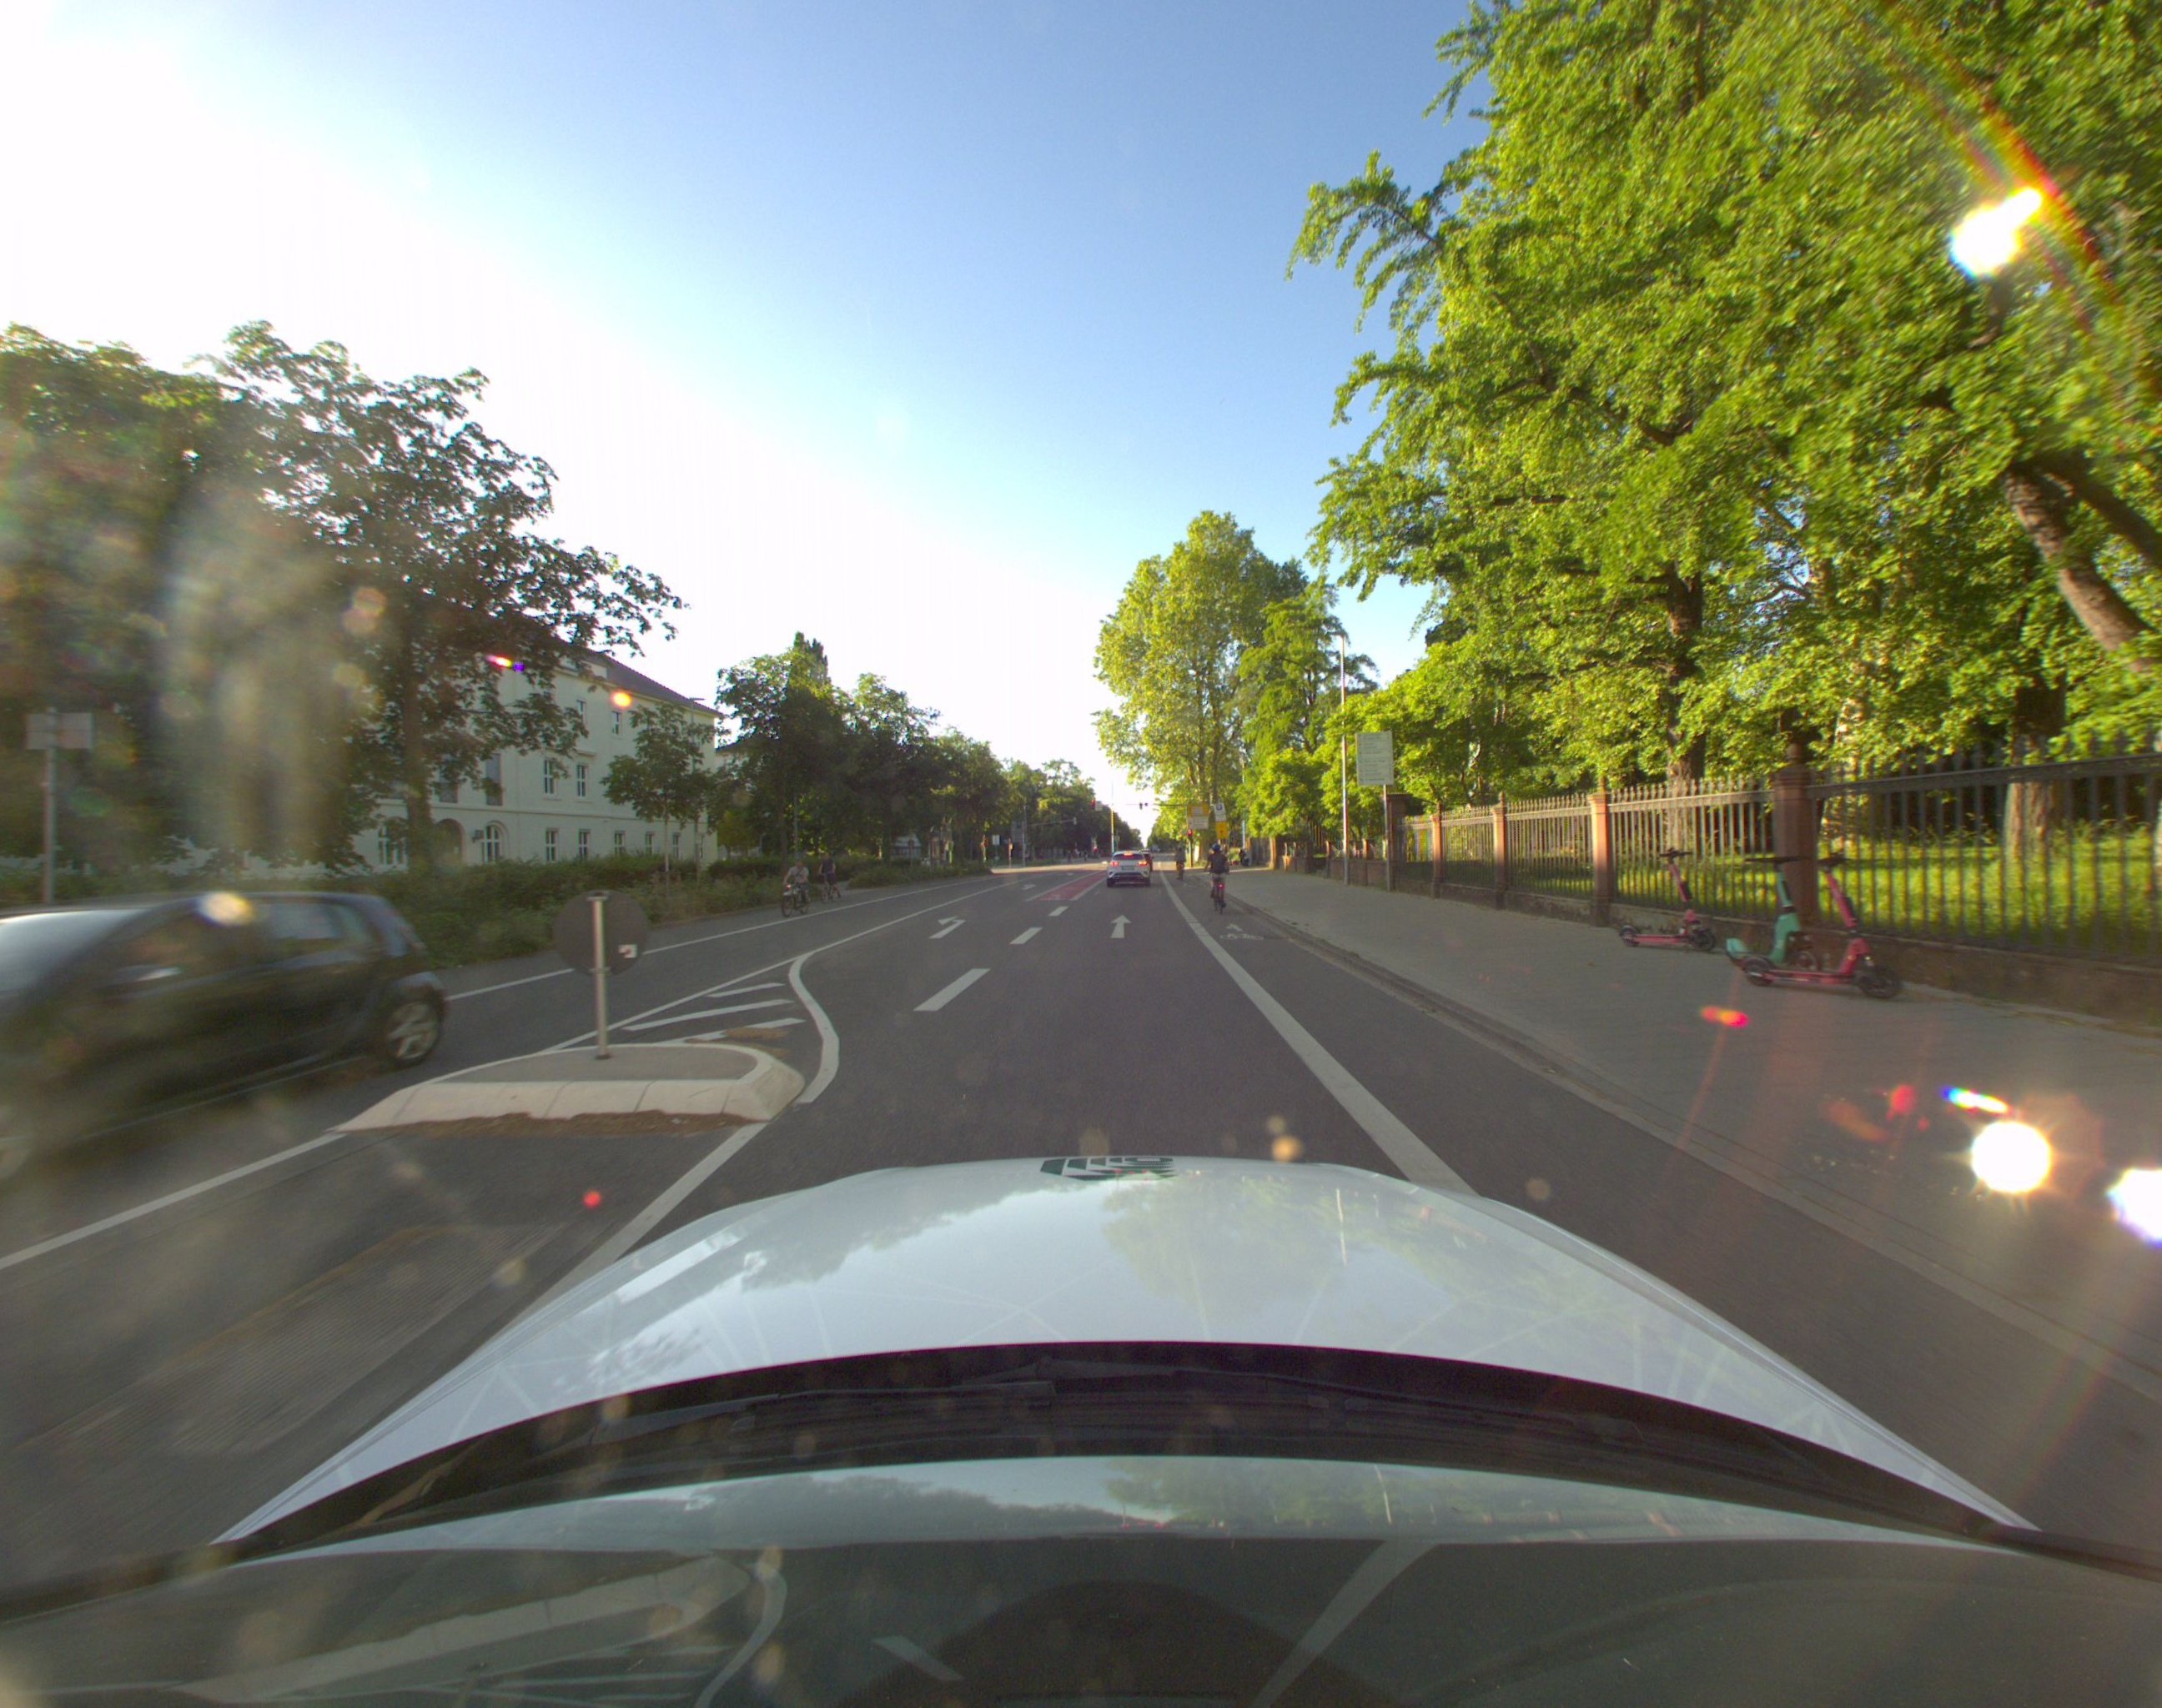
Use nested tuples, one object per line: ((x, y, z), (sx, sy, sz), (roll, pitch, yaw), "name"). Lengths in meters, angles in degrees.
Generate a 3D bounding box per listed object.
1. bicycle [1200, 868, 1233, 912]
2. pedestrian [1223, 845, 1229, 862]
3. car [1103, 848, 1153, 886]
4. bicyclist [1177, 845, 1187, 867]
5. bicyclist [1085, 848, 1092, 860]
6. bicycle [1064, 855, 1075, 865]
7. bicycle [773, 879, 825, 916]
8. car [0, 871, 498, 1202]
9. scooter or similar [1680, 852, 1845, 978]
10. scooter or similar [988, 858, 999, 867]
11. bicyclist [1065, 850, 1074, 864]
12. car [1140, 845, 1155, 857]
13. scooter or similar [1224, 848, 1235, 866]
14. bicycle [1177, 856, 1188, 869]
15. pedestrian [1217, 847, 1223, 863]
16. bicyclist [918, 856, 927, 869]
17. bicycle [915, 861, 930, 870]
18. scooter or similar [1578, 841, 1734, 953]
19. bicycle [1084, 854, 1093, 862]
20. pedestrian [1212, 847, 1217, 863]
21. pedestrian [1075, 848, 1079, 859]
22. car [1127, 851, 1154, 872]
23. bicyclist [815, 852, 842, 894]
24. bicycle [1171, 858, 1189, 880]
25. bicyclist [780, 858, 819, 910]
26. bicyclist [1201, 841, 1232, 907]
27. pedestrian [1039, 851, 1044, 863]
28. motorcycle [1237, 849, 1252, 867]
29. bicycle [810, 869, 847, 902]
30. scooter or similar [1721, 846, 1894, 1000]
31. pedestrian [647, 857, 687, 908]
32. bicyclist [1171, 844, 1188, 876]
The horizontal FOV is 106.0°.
((3.458, 0.897, 20.922), (0.640, 1.024, 2.215), (0, 0, 4), "bicycle")
((16.227, -0.031, 91.128), (0.479, 1.792, 0.433), (-5, 3, 11), "pedestrian")
((2.059, 0.531, 35.329), (1.984, 1.453, 4.005), (-3, 0, 4), "car")
((7.943, 0.163, 63.931), (0.746, 1.750, 0.844), (-1, 0, 4), "bicyclist")
((1.164, 0.020, 126.278), (0.951, 1.705, 1.234), (-3, 0, 6), "bicyclist")
((-1.555, 0.767, 109.325), (1.096, 1.255, 2.784), (-3, 0, 6), "bicycle")
((-8.091, 1.222, 23.466), (0.614, 0.921, 2.180), (-2, 0, 2), "bicycle")
((-5.940, 0.917, 5.051), (1.753, 1.459, 3.998), (-2, 0, -1), "car")
((6.709, 0.557, 8.103), (0.479, 1.122, 1.336), (-3, 0, 0), "scooter or similar")
((-11.362, 1.059, 105.726), (0.506, 1.144, 1.711), (-3, 0, 26), "scooter or similar")
((-1.550, 0.376, 109.422), (1.087, 1.754, 1.099), (-3, 0, 6), "bicyclist")
((9.244, -0.427, 112.636), (1.727, 1.546, 4.010), (-2, 0, 8), "car")
((11.451, 0.225, 62.703), (0.564, 1.382, 1.858), (-2, 0, 3), "scooter or similar")
((7.953, 0.657, 63.988), (0.750, 1.026, 1.871), (-1, -1, 4), "bicycle")
((15.436, 0.106, 90.515), (0.479, 1.640, 0.433), (-5, 3, 11), "pedestrian")
((-19.956, 1.071, 102.442), (0.916, 1.508, 0.508), (-2, 0, 11), "bicyclist")
((-19.922, 1.450, 102.436), (1.754, 0.990, 0.514), (-2, 0, 11), "bicycle")
((6.998, 0.488, 9.999), (0.548, 1.243, 1.551), (-3, 0, -13), "scooter or similar")
((1.188, 0.628, 126.364), (0.959, 1.181, 2.956), (-3, 0, 6), "bicycle")
((14.836, 0.098, 90.522), (0.479, 1.792, 0.433), (-5, 3, 11), "pedestrian")
((-0.679, -0.040, 153.926), (0.654, 2.013, 0.832), (-2, 0, 2), "pedestrian")
((4.530, 0.548, 62.174), (1.920, 1.533, 4.005), (-3, 0, 4), "car")
((-9.442, 0.701, 30.460), (0.627, 1.522, 0.725), (-5, 0, 1), "bicyclist")
((4.842, 0.725, 39.814), (0.750, 1.026, 1.871), (-1, -1, 4), "bicycle")
((-8.117, 0.857, 23.503), (0.643, 1.418, 0.971), (-5, 0, 2), "bicyclist")
((3.431, 0.493, 20.731), (0.633, 1.614, 1.285), (-1, 0, 4), "bicyclist")
((-6.250, 0.441, 129.497), (0.648, 1.888, 0.664), (-2, 0, 6), "pedestrian")
((11.202, 0.292, 55.920), (0.659, 1.167, 2.330), (-4, 0, 4), "motorcycle")
((-9.409, 1.153, 30.457), (0.594, 1.120, 2.028), (-5, 0, 2), "bicycle")
((6.379, 0.565, 7.217), (0.297, 1.240, 1.156), (-3, 0, -12), "scooter or similar")
((-15.429, 1.047, 30.378), (0.852, 1.851, 1.002), (-3, 0, 2), "pedestrian")
((4.831, 0.298, 39.850), (0.744, 1.537, 0.970), (-1, 0, 4), "bicyclist")
